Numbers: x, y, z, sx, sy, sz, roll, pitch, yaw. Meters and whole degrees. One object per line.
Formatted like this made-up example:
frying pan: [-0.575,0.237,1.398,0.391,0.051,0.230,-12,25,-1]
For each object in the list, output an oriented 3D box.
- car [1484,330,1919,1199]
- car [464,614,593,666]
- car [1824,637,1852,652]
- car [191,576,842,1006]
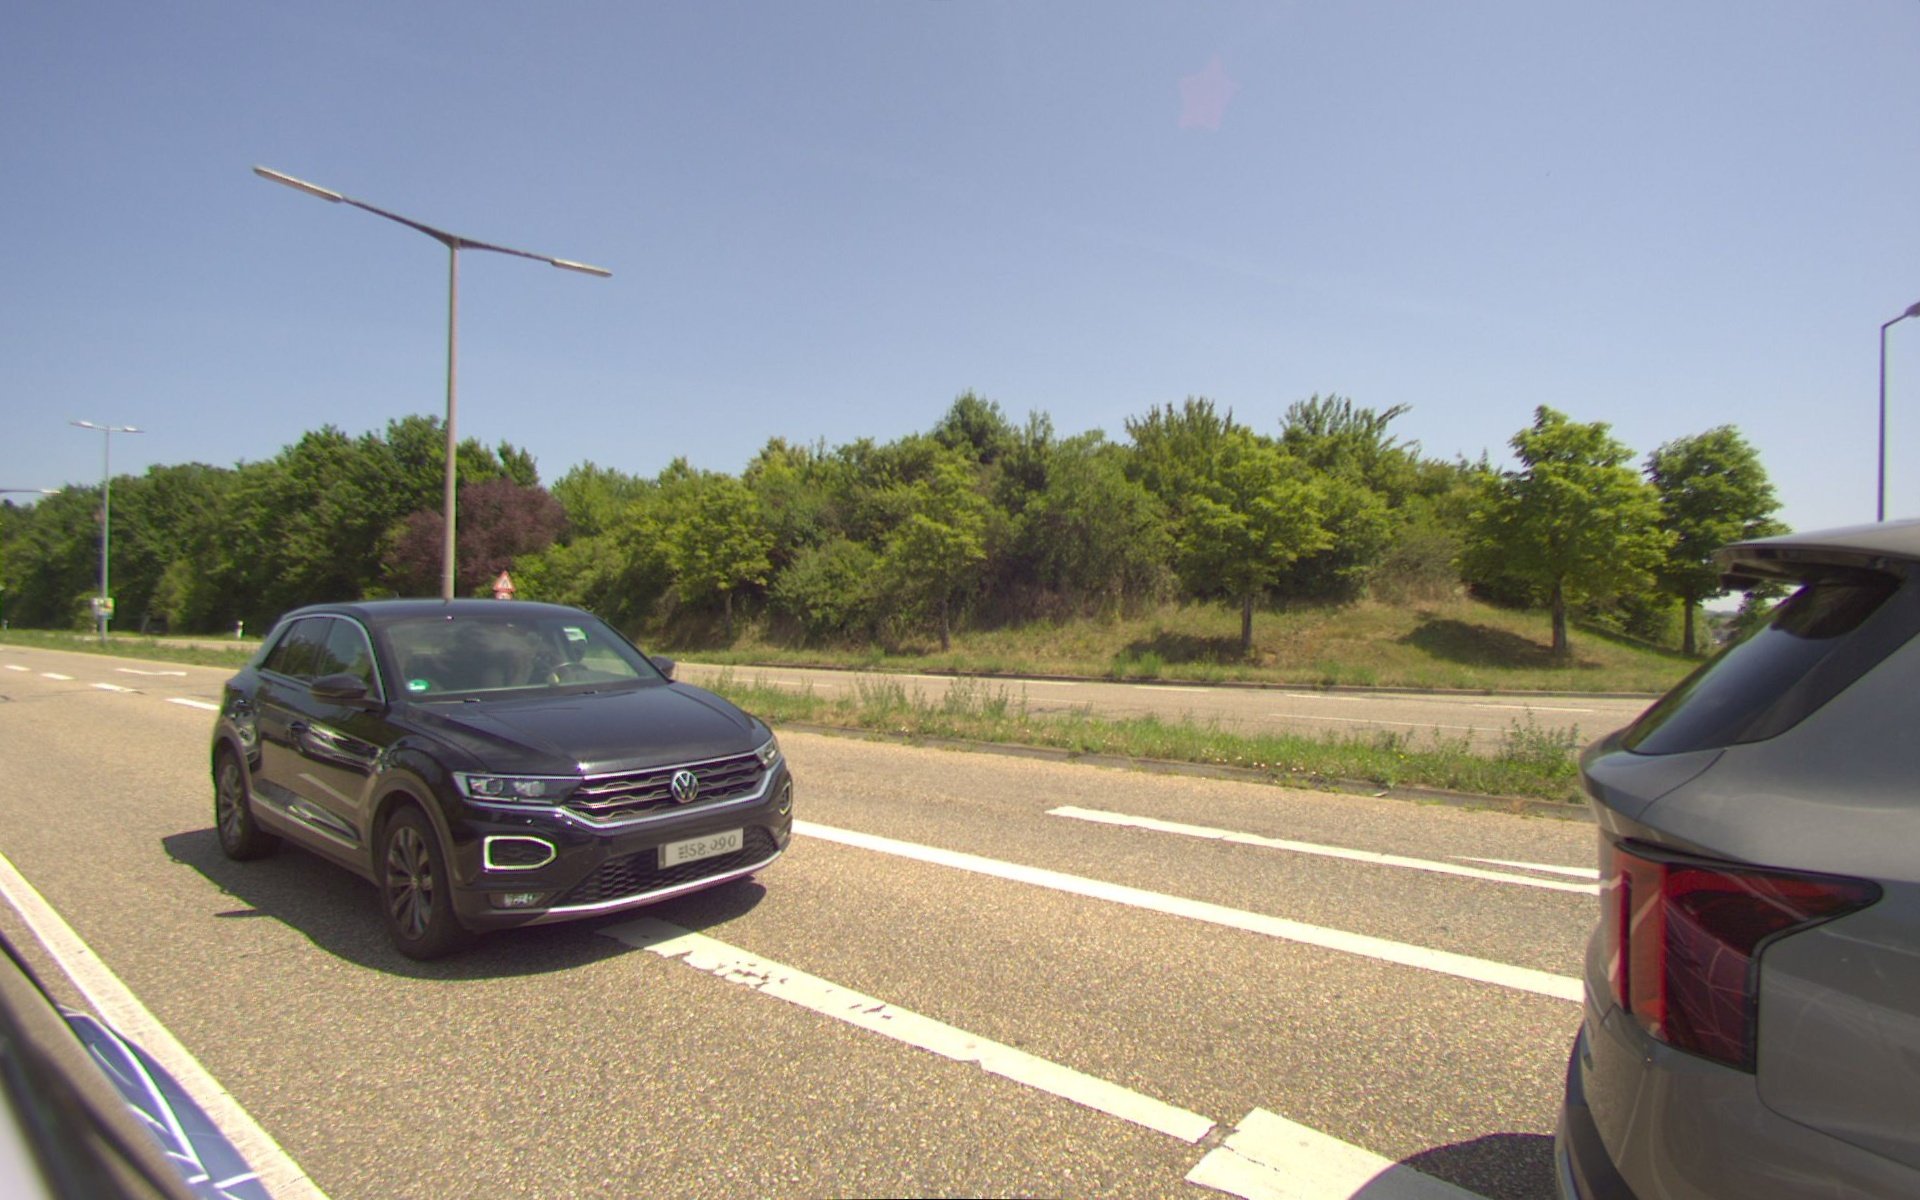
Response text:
car: [3.065,0.535,0.583,4.641,1.675,1.785,-1,-1,41]
car: [-12.989,1.154,30.353,4.163,1.467,1.805,-1,-2,38]
car: [86.789,4.407,100.043,1.629,1.371,3.953,-1,-1,35]
car: [-2.635,0.690,5.543,3.968,1.523,1.717,-1,0,41]
